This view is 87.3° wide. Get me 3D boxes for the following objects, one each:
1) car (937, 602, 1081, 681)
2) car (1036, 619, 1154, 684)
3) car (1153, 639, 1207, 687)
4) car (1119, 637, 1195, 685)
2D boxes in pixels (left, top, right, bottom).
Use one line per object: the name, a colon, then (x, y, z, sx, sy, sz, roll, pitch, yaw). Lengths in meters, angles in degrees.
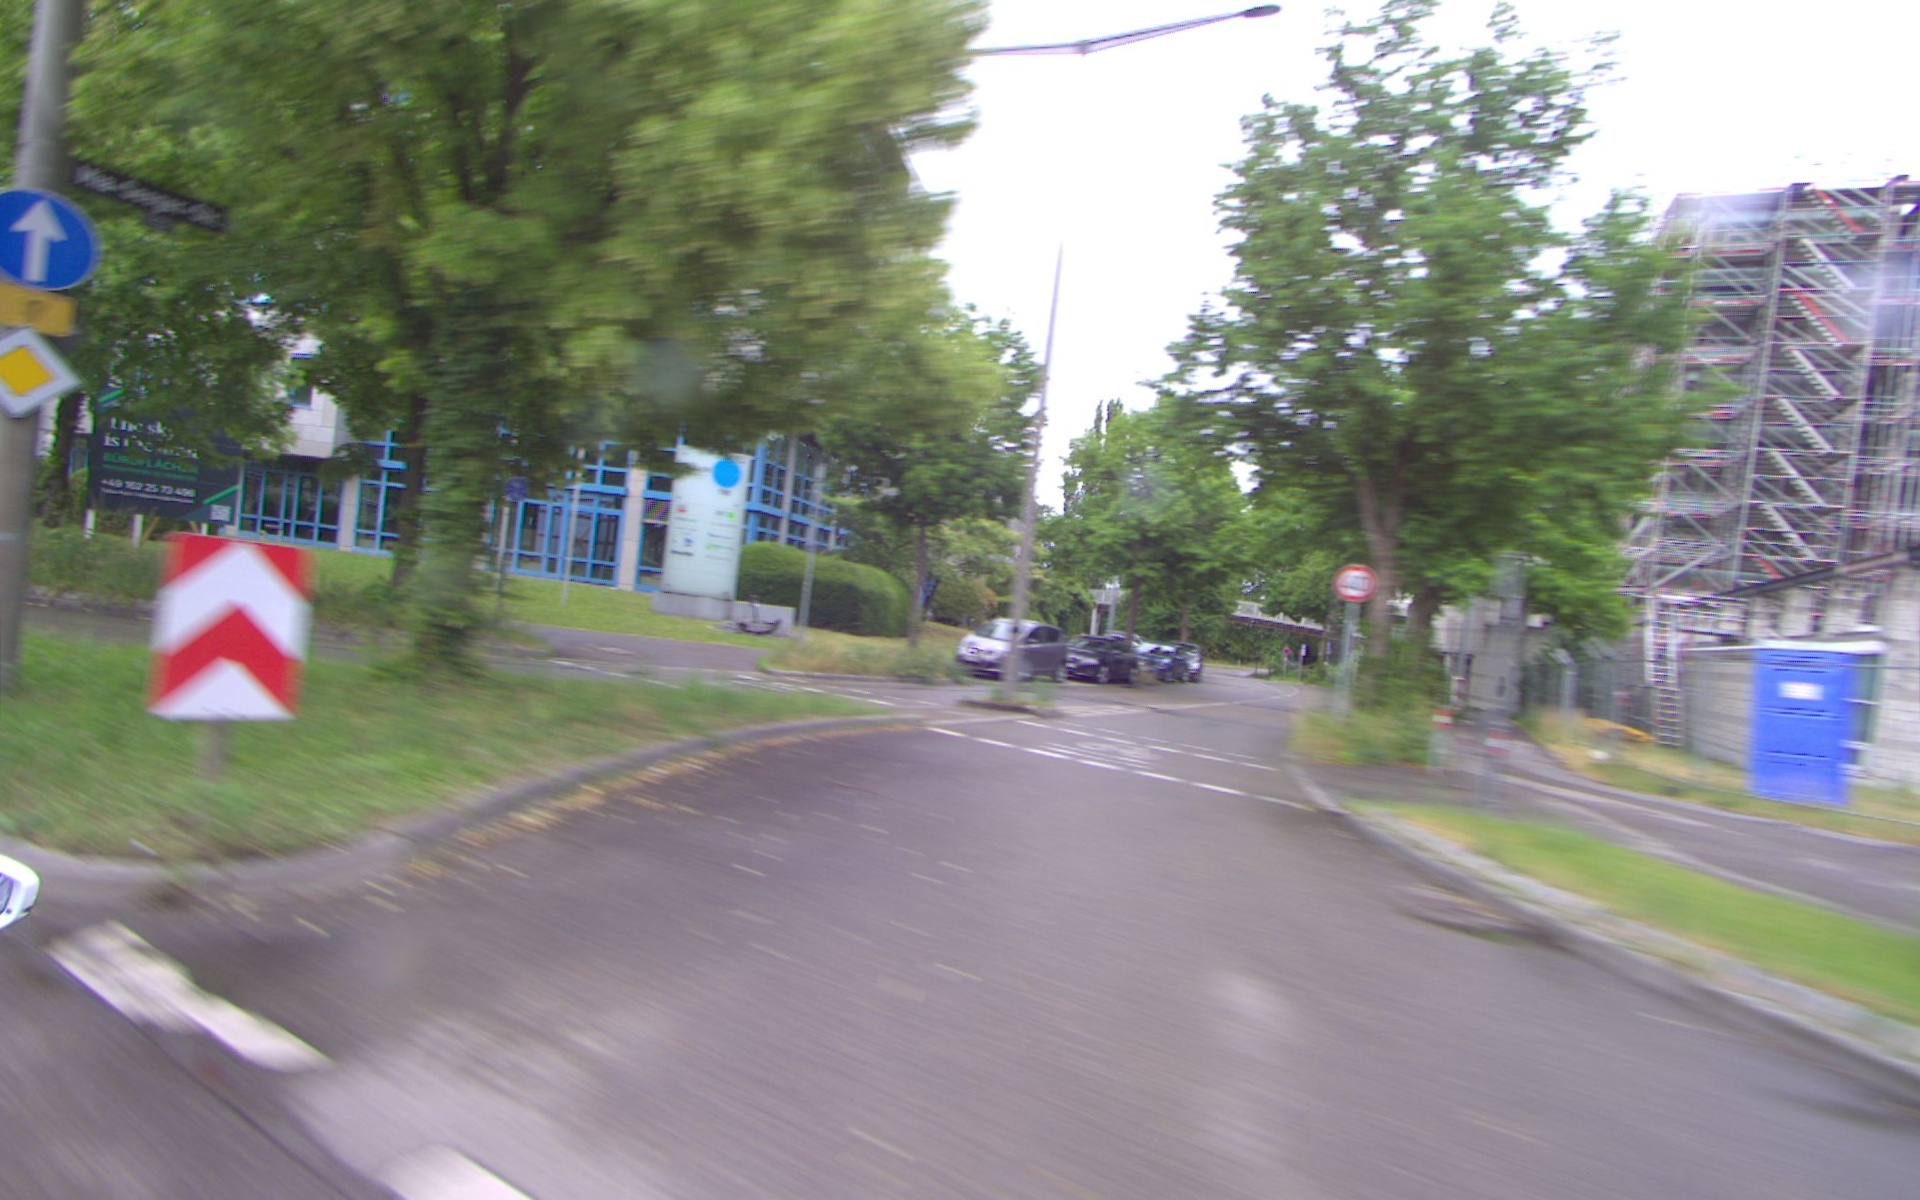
car: (1.386, 1.149, 26.819, 1.730, 1.662, 4.097, 9, 1, 36)
car: (4.265, 1.629, 31.210, 1.730, 1.598, 4.097, 9, 1, 36)
car: (9.428, 2.630, 42.873, 1.725, 1.641, 4.110, 9, 1, 17)
car: (7.546, 2.301, 38.214, 1.726, 1.451, 4.107, 9, 1, 25)
